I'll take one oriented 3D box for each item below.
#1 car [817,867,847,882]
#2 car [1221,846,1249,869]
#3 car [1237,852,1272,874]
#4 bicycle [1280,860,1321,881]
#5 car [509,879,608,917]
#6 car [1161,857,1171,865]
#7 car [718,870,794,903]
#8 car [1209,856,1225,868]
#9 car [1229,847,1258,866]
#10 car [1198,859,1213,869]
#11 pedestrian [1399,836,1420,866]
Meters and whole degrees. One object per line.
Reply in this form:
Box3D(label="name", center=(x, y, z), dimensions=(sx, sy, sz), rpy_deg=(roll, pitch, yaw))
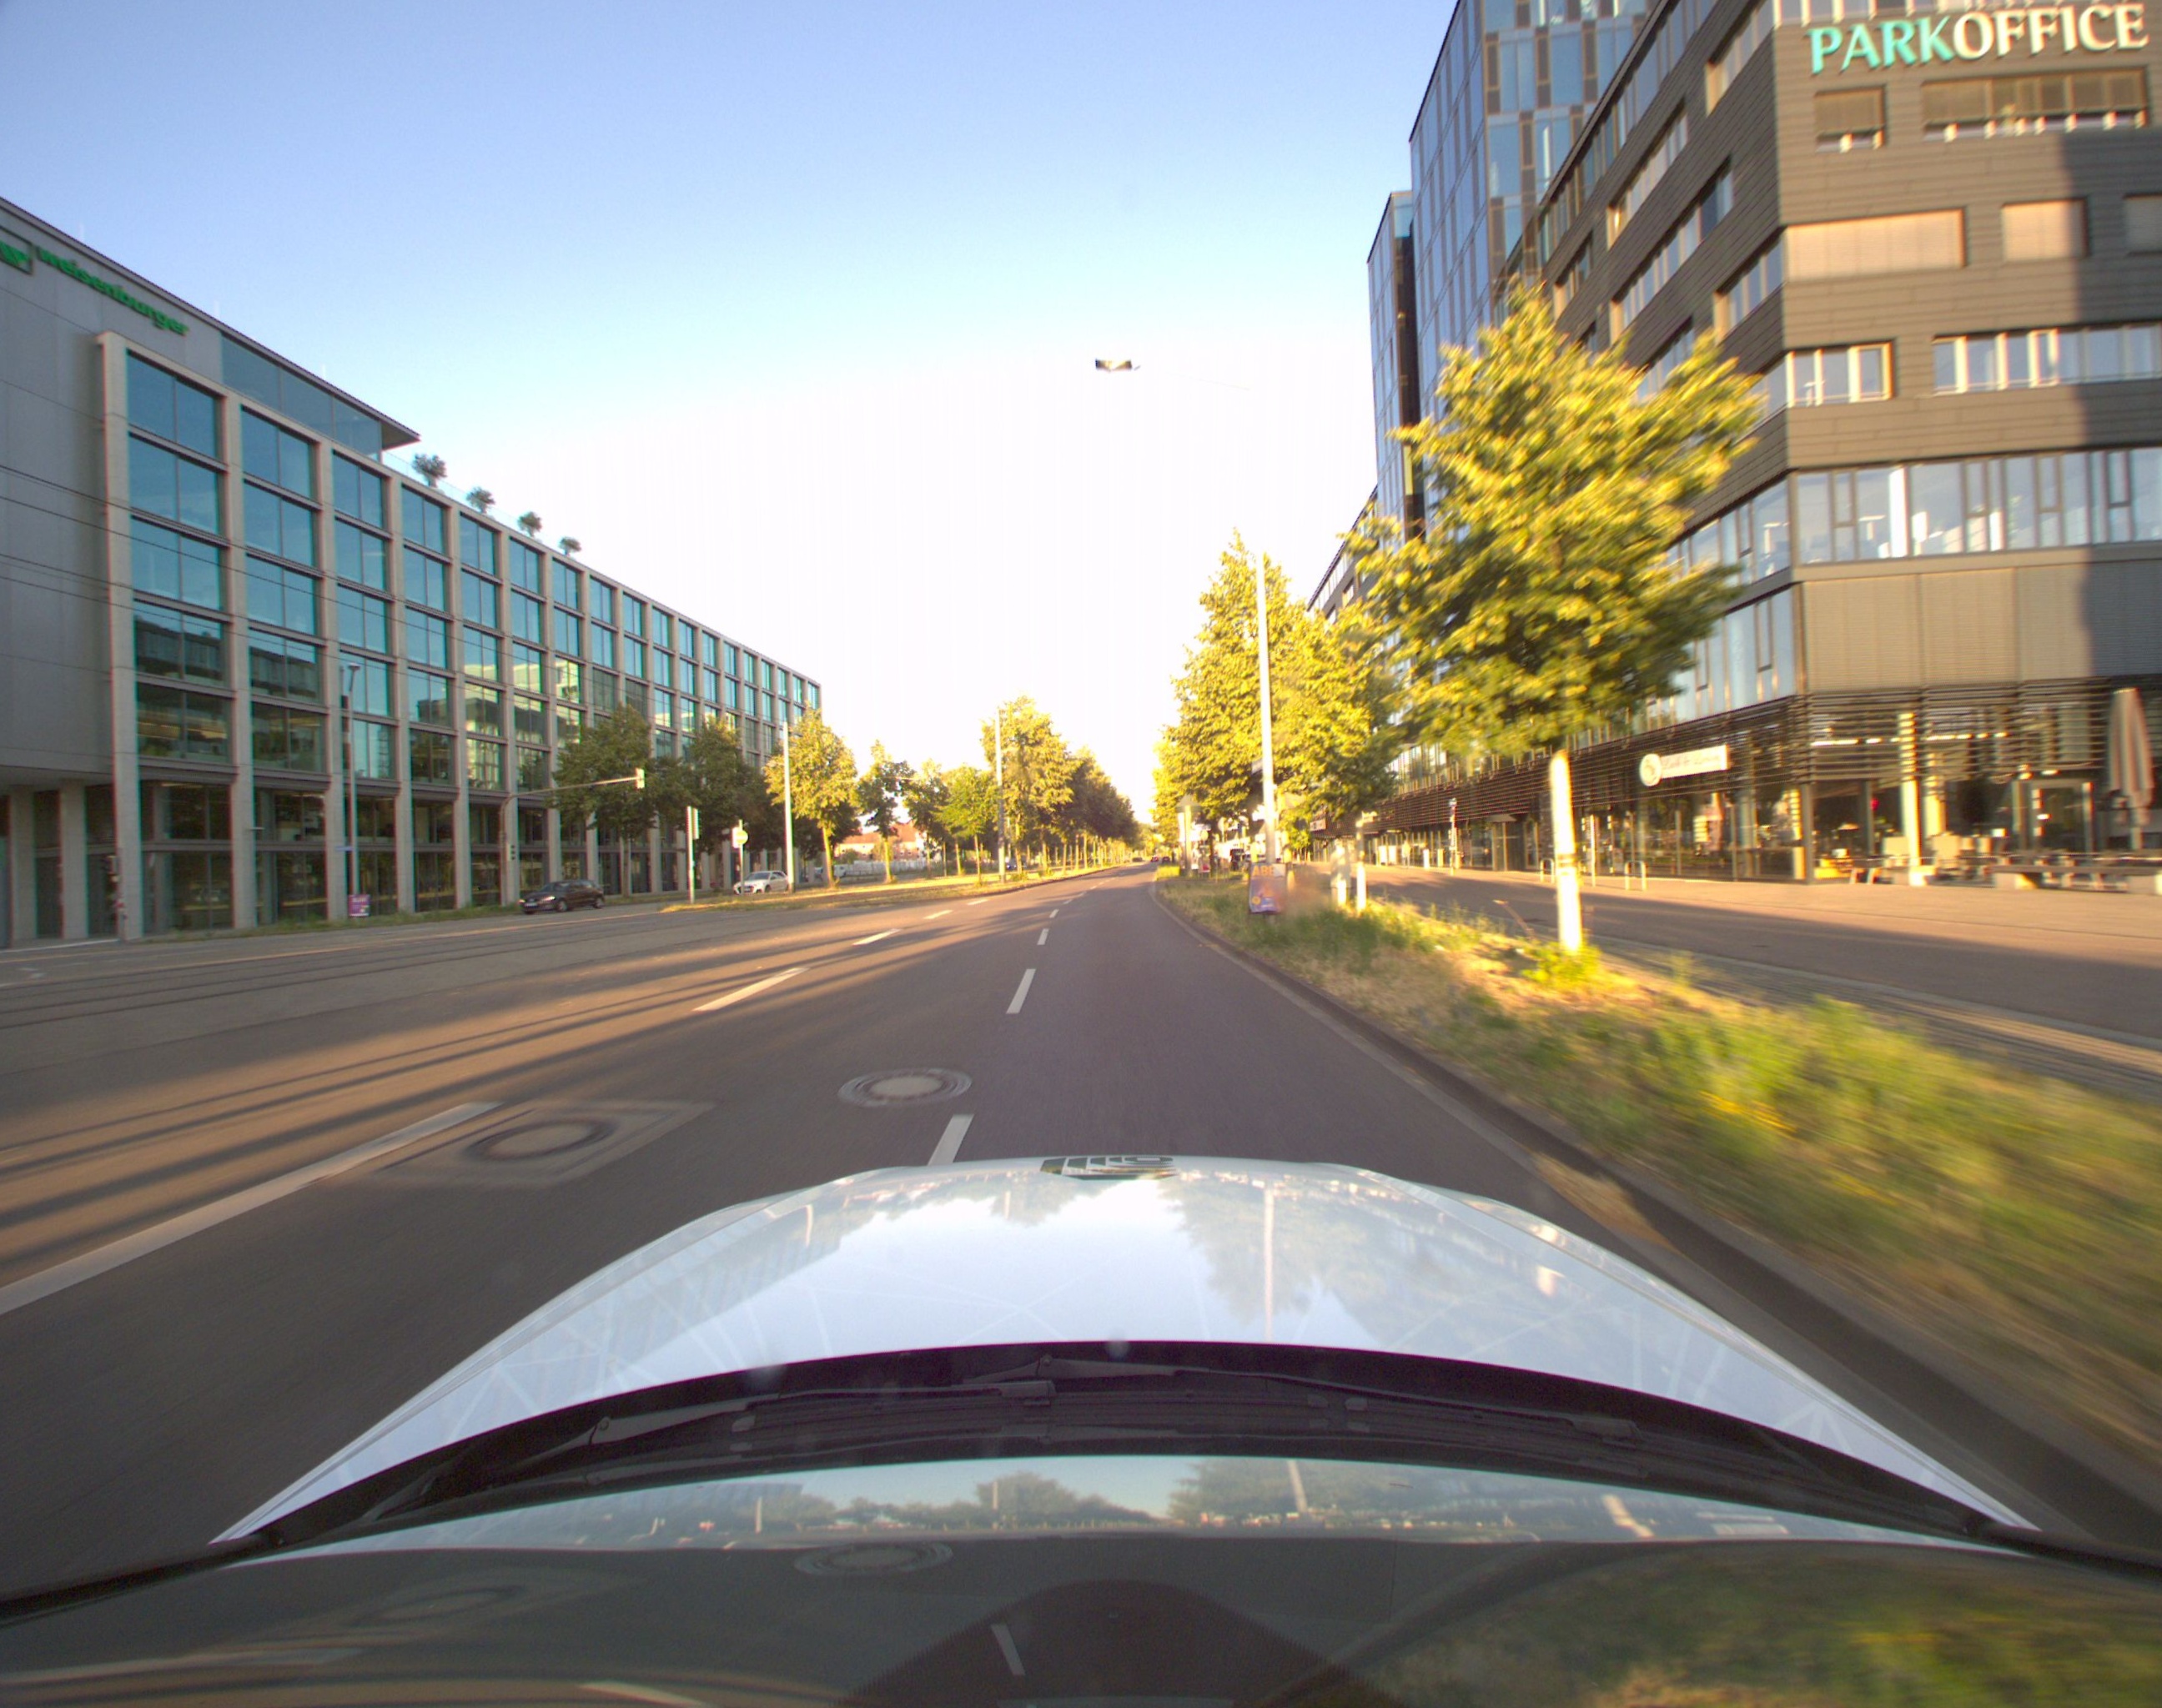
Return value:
Box3D(label="car", center=(-35.385, 2.895, 115.933), dimensions=(2.195, 2.014, 5.092), rpy_deg=(-2, -1, 6))
Box3D(label="car", center=(14.010, 0.289, 74.418), dimensions=(1.977, 1.989, 4.939), rpy_deg=(-1, -1, 5))
Box3D(label="car", center=(12.903, 0.664, 60.828), dimensions=(1.908, 1.496, 5.046), rpy_deg=(-1, -1, 4))
Box3D(label="bicycle", center=(9.811, 0.746, 36.434), dimensions=(1.701, 0.910, 0.364), rpy_deg=(-2, 0, 39))
Box3D(label="car", center=(-23.502, 1.955, 36.824), dimensions=(1.633, 1.449, 4.004), rpy_deg=(-2, 0, 4))
Box3D(label="car", center=(17.314, 1.376, 166.493), dimensions=(1.903, 1.486, 4.005), rpy_deg=(-2, -1, 5))
Box3D(label="car", center=(-17.310, 1.699, 43.632), dimensions=(1.894, 1.485, 4.636), rpy_deg=(-2, 0, 4))
Box3D(label="car", center=(17.130, 1.038, 102.960), dimensions=(1.771, 1.494, 4.006), rpy_deg=(1, 0, 6))
Box3D(label="car", center=(13.313, 0.194, 66.883), dimensions=(1.850, 1.496, 4.298), rpy_deg=(-2, 0, 6))
Box3D(label="car", center=(18.971, 1.536, 124.468), dimensions=(1.844, 1.367, 4.839), rpy_deg=(-3, -1, 4))
Box3D(label="pedestrian", center=(20.422, -0.190, 50.642), dimensions=(0.892, 1.796, 0.913), rpy_deg=(-2, -1, 4))
